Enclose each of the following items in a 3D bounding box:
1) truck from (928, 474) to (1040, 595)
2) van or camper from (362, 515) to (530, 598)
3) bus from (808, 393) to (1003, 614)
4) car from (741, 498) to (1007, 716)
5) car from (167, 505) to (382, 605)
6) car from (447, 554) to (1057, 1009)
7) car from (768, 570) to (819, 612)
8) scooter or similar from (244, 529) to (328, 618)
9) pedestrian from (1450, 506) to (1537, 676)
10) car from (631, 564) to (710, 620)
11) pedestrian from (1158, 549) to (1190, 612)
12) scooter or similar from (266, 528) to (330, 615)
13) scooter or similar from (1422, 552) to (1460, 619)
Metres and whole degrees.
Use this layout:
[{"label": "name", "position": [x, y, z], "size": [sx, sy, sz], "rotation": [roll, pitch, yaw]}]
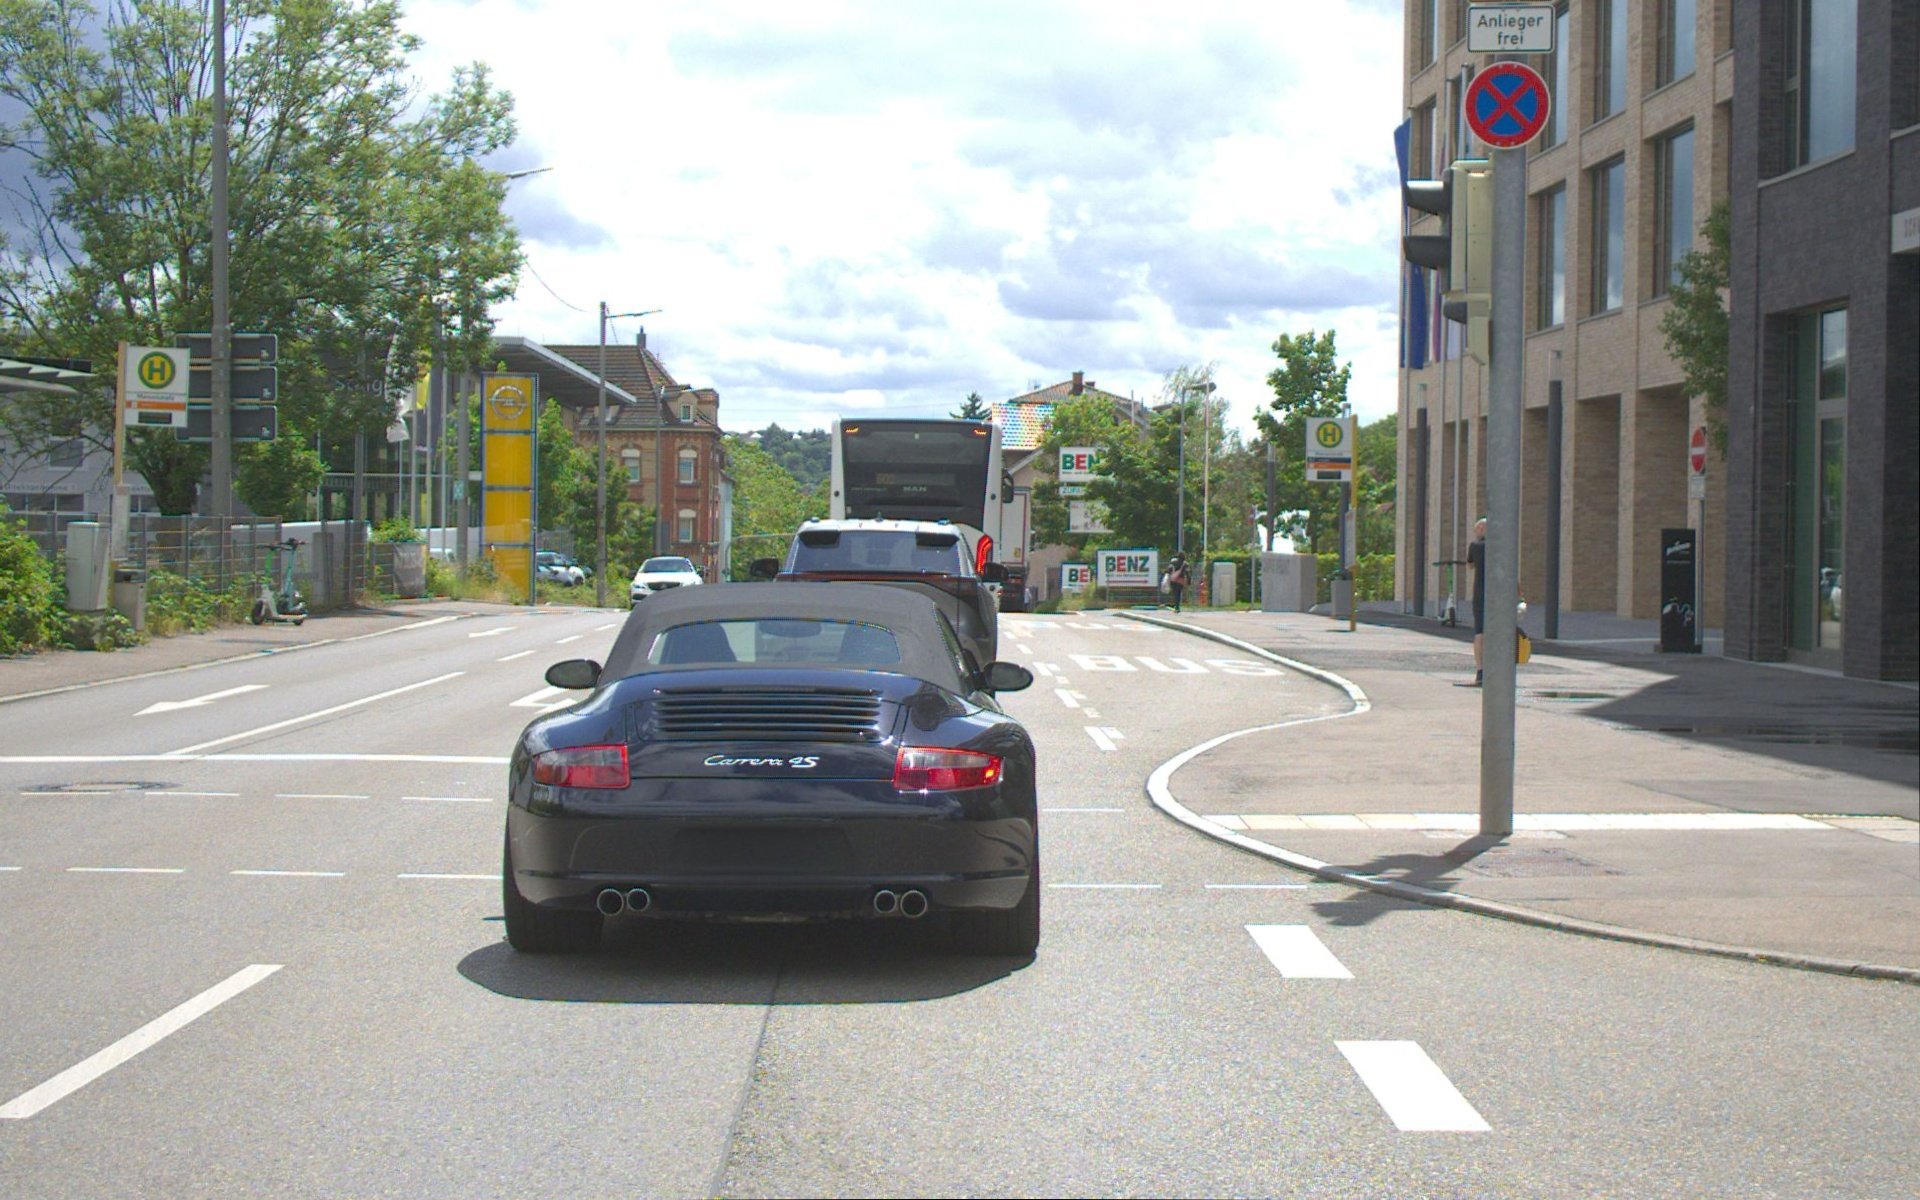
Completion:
[{"label": "truck", "position": [0.586, -1.749, 91.092], "size": [2.713, 3.044, 7.714], "rotation": [0, 1, -1]}, {"label": "van or camper", "position": [-16.362, -1.386, 109.598], "size": [5.026, 2.522, 2.318], "rotation": [1, 1, -1]}, {"label": "bus", "position": [-0.754, -1.580, 56.434], "size": [2.802, 3.187, 12.196], "rotation": [1, 2, 0]}, {"label": "car", "position": [-0.750, 0.009, 27.462], "size": [1.930, 1.577, 4.209], "rotation": [1, 1, -3]}, {"label": "car", "position": [-14.477, -0.965, 72.800], "size": [4.160, 2.007, 2.199], "rotation": [1, 1, -3]}, {"label": "car", "position": [-0.671, 0.554, 13.121], "size": [1.930, 1.372, 4.208], "rotation": [1, 2, 0]}, {"label": "car", "position": [-6.123, -0.319, 126.594], "size": [1.829, 1.504, 4.277], "rotation": [0, 0, -3]}, {"label": "scooter or similar", "position": [-9.792, -0.392, 50.008], "size": [0.535, 1.258, 1.470], "rotation": [3, 1, 16]}, {"label": "pedestrian", "position": [5.520, -0.103, 35.602], "size": [0.683, 1.722, 0.962], "rotation": [1, 1, -1]}, {"label": "car", "position": [-7.638, -0.235, 90.891], "size": [1.796, 1.372, 4.225], "rotation": [0, 2, -1]}, {"label": "pedestrian", "position": [5.230, -0.489, 84.068], "size": [0.687, 1.531, 0.856], "rotation": [0, 0, -1]}, {"label": "scooter or similar", "position": [-9.909, -0.433, 51.505], "size": [0.535, 1.262, 1.471], "rotation": [2, 1, 4]}, {"label": "scooter or similar", "position": [8.443, -0.261, 60.358], "size": [0.427, 1.149, 1.404], "rotation": [0, 1, -1]}]
